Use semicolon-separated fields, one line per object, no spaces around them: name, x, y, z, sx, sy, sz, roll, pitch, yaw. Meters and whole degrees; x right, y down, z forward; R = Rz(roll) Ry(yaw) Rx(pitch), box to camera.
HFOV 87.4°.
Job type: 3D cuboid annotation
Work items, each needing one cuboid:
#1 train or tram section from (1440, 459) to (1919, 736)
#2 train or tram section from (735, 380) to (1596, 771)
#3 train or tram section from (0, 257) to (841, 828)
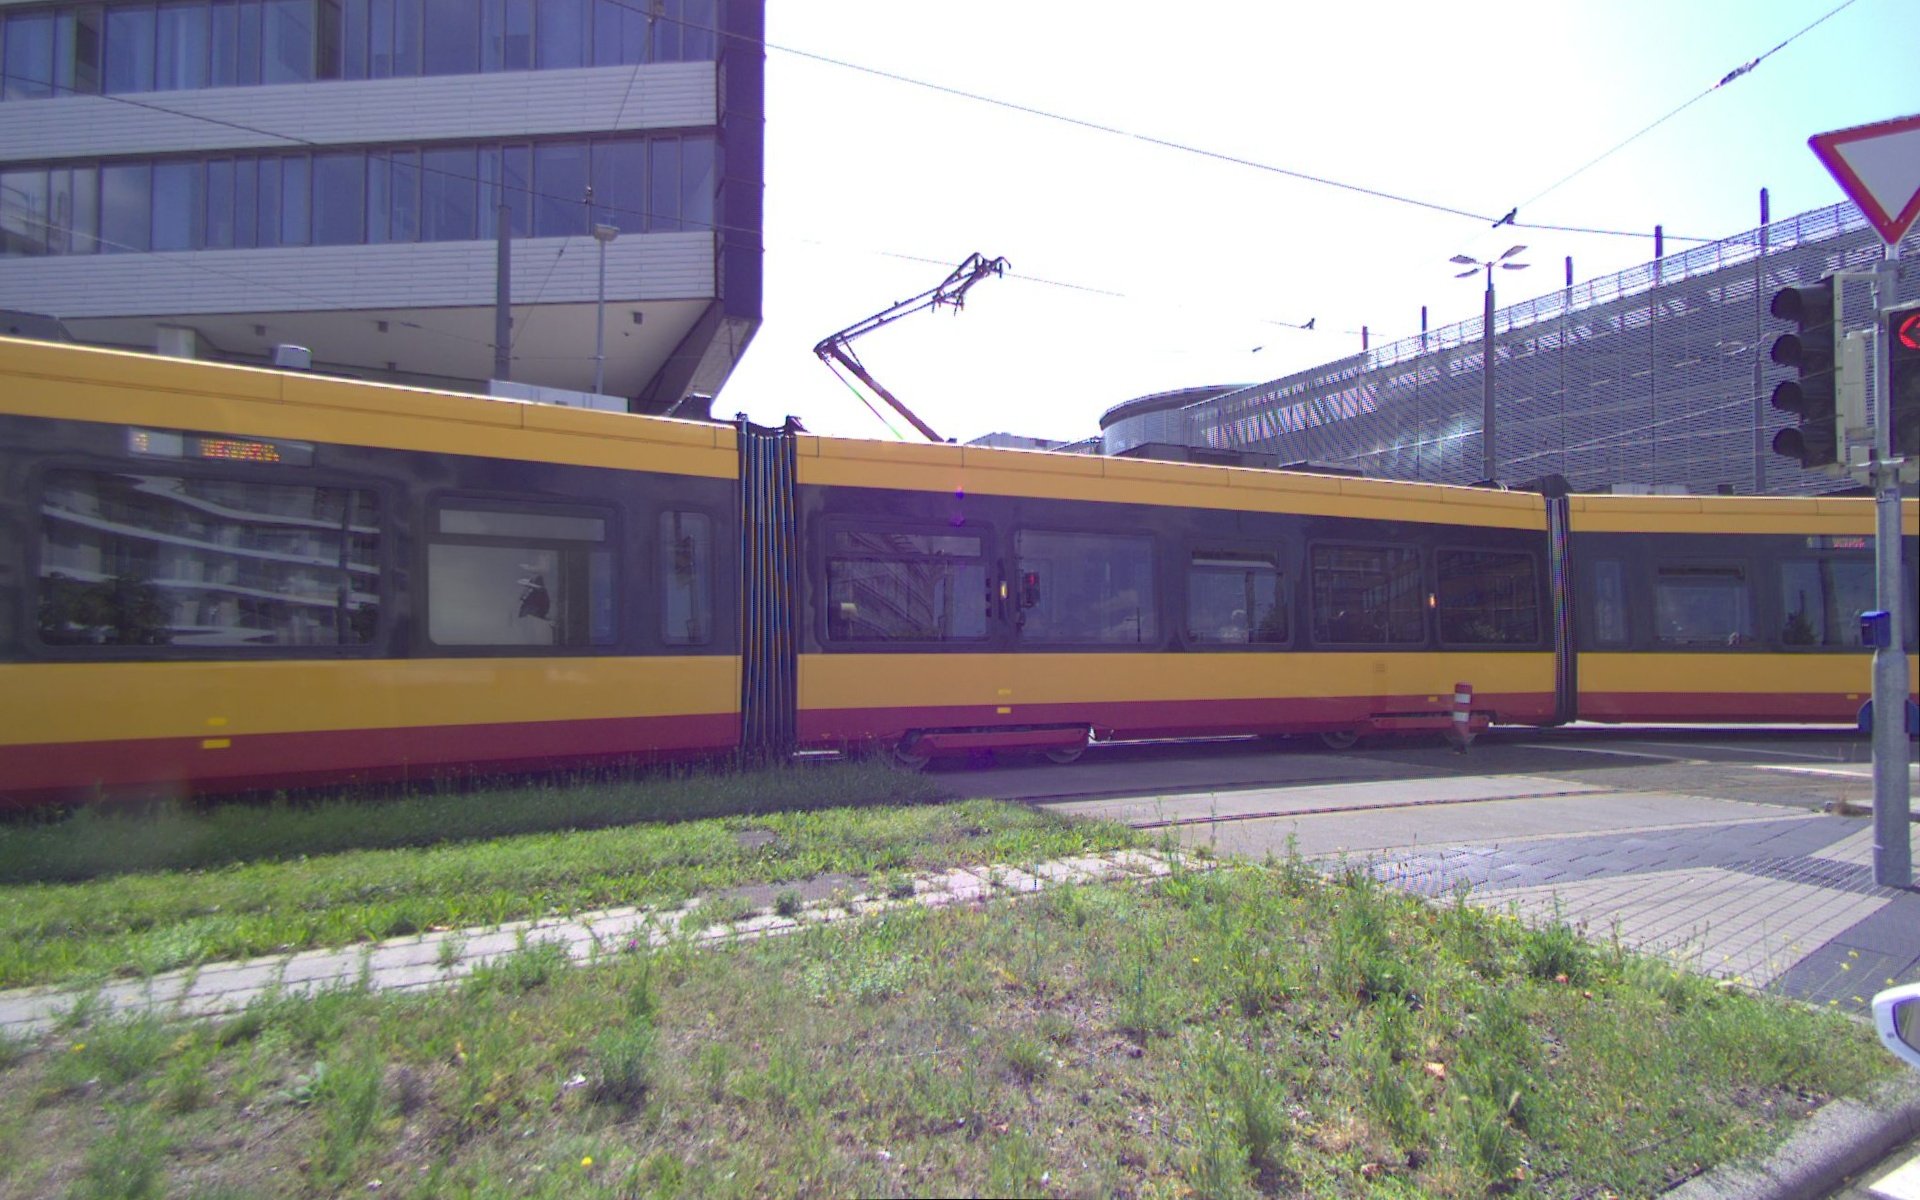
train or tram section;14.102;0.019;15.103;12.390;3.668;3.065;0;-3;-2
train or tram section;2.838;-0.087;12.788;10.830;3.650;3.051;1;-3;-22
train or tram section;-7.609;-0.326;7.346;13.349;3.646;3.200;2;-3;-32
